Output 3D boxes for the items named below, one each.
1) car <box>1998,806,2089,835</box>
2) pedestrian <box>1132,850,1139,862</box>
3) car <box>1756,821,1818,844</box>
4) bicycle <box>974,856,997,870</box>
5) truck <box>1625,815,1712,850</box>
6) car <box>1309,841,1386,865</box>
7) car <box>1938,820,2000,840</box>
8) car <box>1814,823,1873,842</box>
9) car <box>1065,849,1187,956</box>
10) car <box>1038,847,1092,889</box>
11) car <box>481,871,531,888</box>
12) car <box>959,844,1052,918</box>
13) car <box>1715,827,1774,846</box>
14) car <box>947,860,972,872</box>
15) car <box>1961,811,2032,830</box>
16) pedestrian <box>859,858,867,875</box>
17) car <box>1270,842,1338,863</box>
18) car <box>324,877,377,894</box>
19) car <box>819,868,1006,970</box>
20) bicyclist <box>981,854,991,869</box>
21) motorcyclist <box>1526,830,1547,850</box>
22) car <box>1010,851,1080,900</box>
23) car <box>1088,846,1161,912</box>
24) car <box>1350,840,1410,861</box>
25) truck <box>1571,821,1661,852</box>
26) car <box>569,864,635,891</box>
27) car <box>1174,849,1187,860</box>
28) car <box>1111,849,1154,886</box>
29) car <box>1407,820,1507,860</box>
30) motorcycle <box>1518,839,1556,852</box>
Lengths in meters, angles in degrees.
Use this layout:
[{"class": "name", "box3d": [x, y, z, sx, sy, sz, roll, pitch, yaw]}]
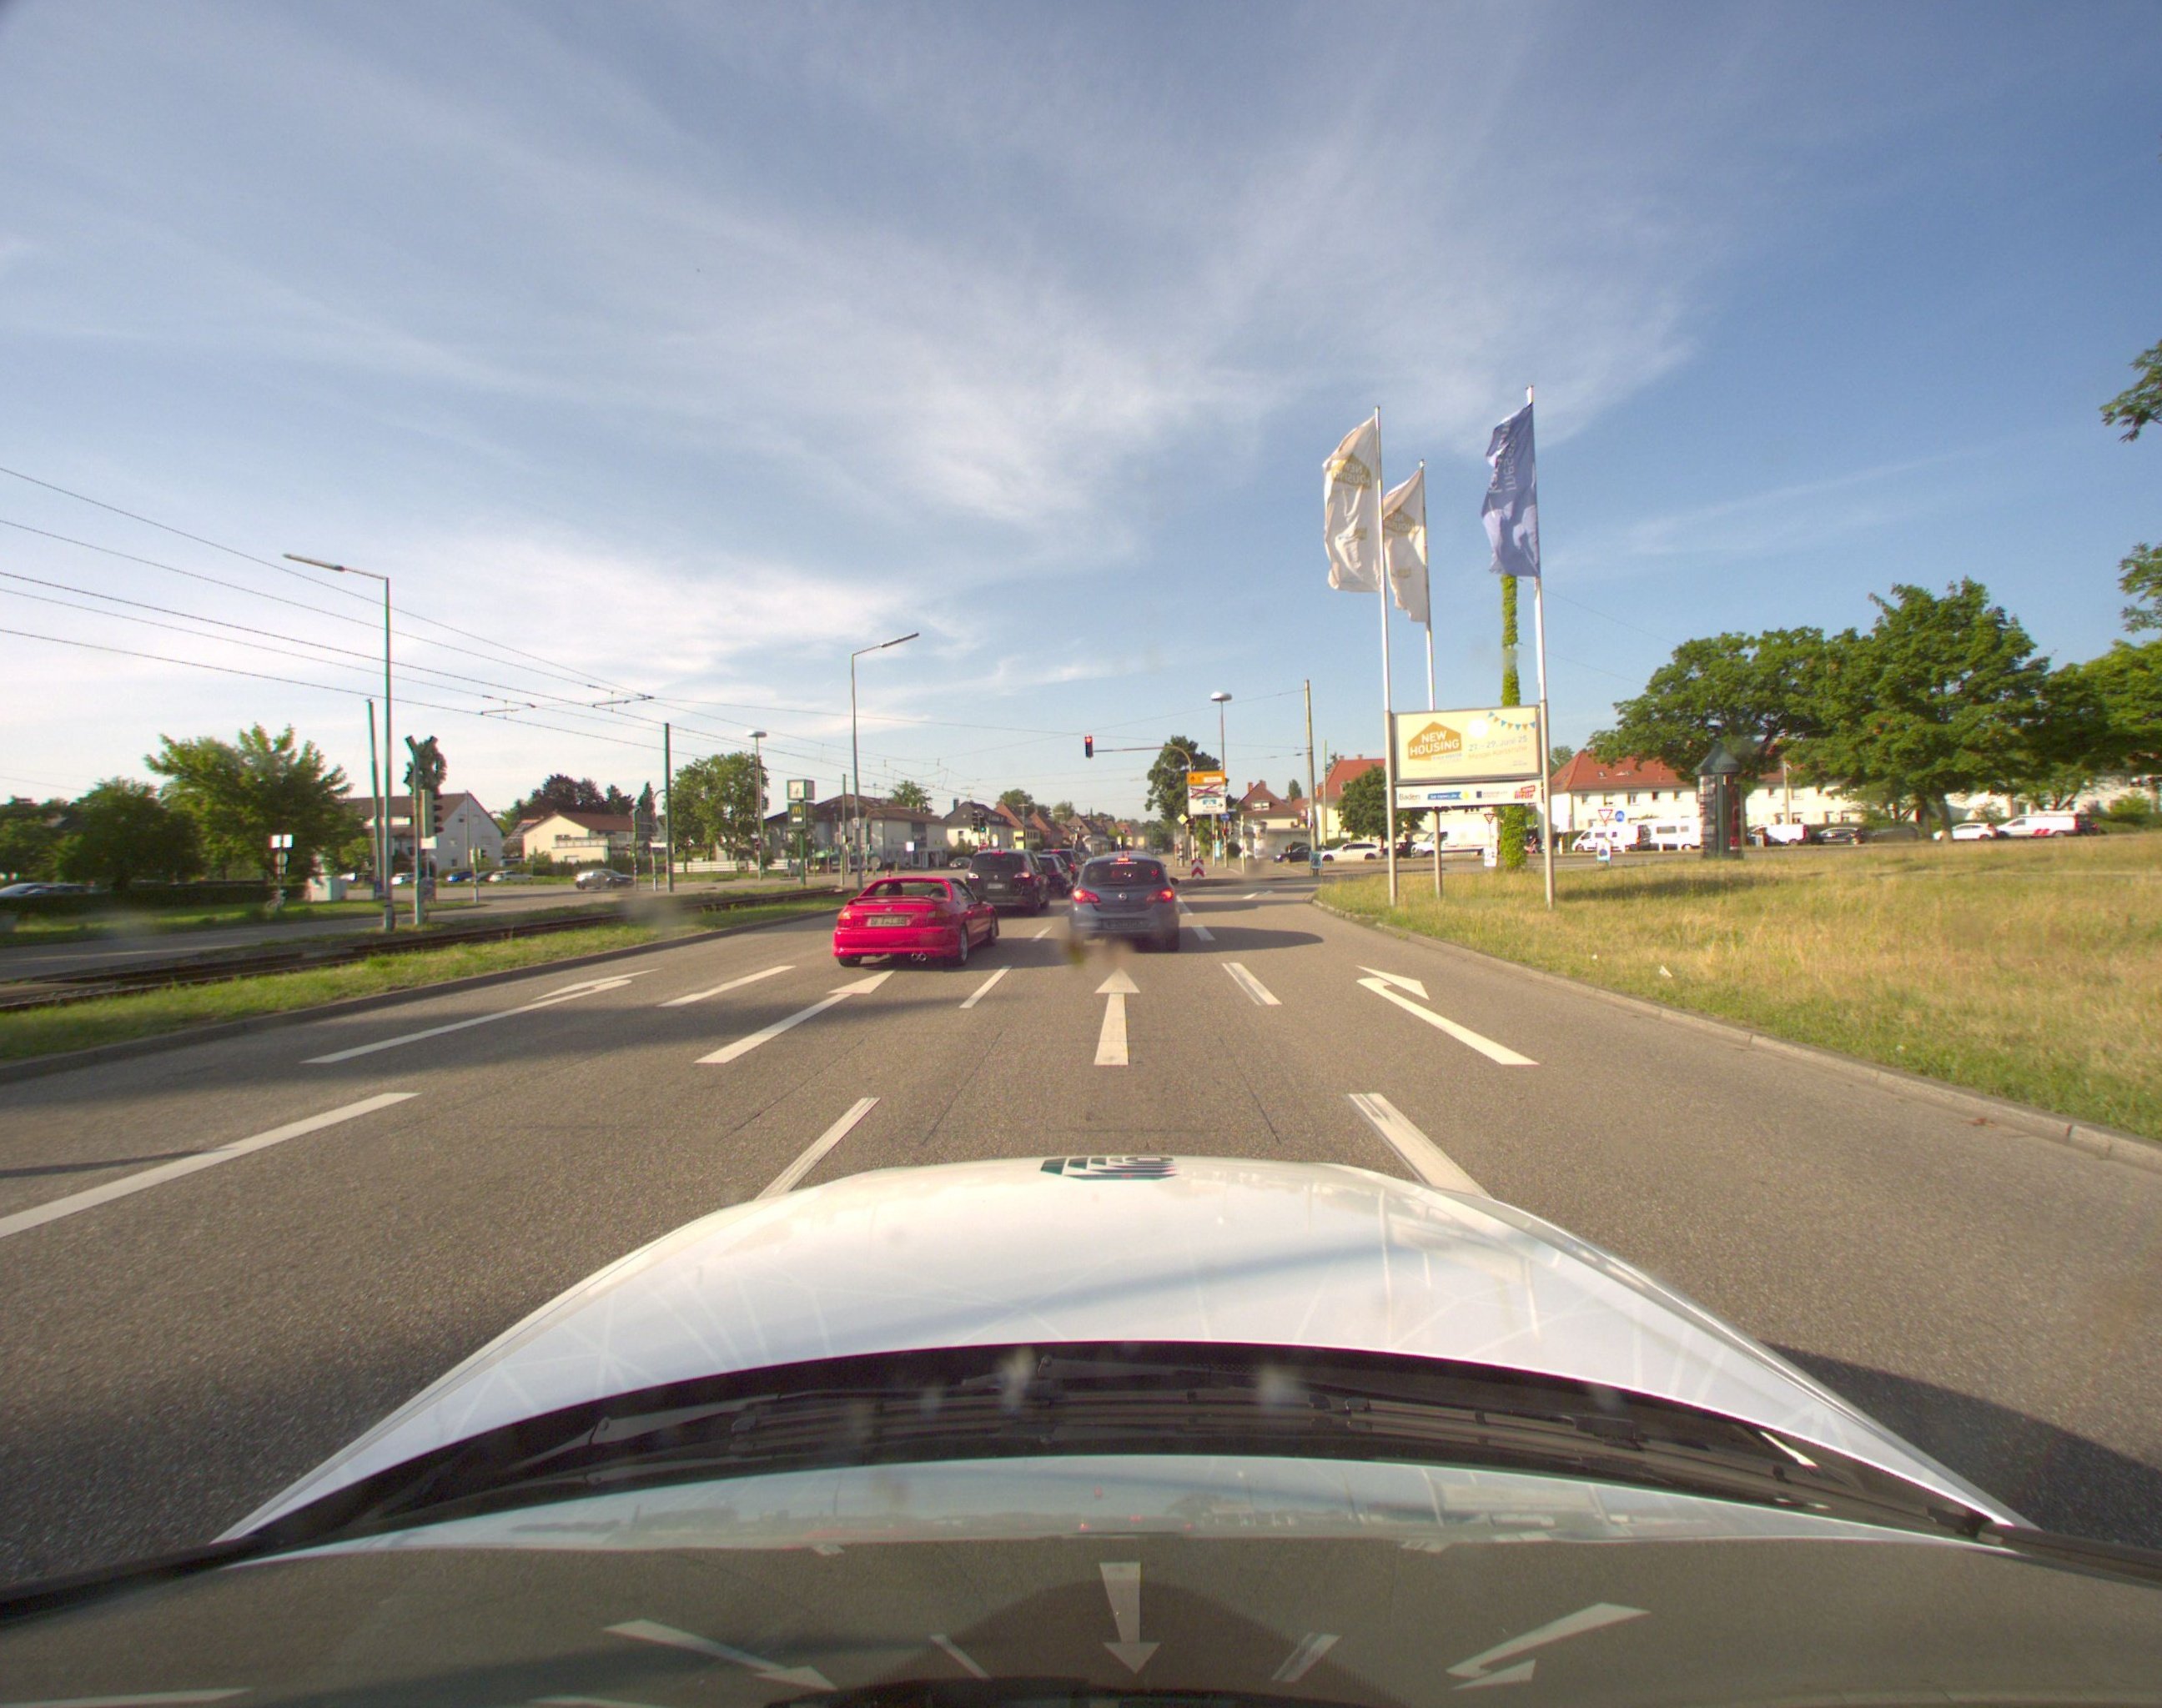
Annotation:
[{"class": "car", "box3d": [82.287, -2.842, 69.760, 2.011, 2.232, 4.919, -2, 0, -42]}, {"class": "pedestrian", "box3d": [6.497, 0.257, 97.482, 0.749, 1.499, 0.829, -1, -1, 8]}, {"class": "car", "box3d": [62.522, -1.890, 72.112, 1.906, 1.920, 3.863, -2, 0, -40]}, {"class": "bicycle", "box3d": [-8.981, 0.856, 76.602, 2.070, 1.348, 1.107, 0, -1, -4]}, {"class": "truck", "box3d": [52.474, -1.913, 72.848, 1.906, 2.854, 6.007, -2, 0, -40]}, {"class": "car", "box3d": [19.270, -0.094, 59.044, 5.068, 1.563, 1.843, -2, 0, 6]}, {"class": "car", "box3d": [76.332, -2.061, 70.022, 1.905, 1.514, 3.395, -2, 0, -36]}, {"class": "car", "box3d": [66.366, -1.843, 70.891, 1.905, 1.514, 3.461, -2, 0, -36]}, {"class": "car", "box3d": [0.737, 0.697, 14.007, 1.735, 1.505, 4.225, -2, 0, 2]}, {"class": "car", "box3d": [-0.628, 0.531, 35.412, 1.498, 1.651, 4.755, -2, 0, 8]}, {"class": "car", "box3d": [-62.177, 2.735, 88.143, 1.980, 1.684, 4.234, -1, -1, 12]}, {"class": "car", "box3d": [-1.800, 0.615, 20.782, 1.756, 1.670, 4.087, -1, 0, 3]}, {"class": "car", "box3d": [59.127, -1.560, 72.583, 1.907, 1.456, 3.861, -2, 0, -43]}, {"class": "car", "box3d": [-14.889, 1.452, 99.707, 1.653, 1.345, 4.090, -2, -1, 11]}, {"class": "car", "box3d": [94.912, -3.471, 84.497, 1.984, 1.719, 4.987, -2, 0, 5]}, {"class": "pedestrian", "box3d": [-20.842, 1.164, 77.894, 0.510, 1.599, 0.540, -2, 0, 2]}, {"class": "car", "box3d": [17.160, -0.110, 62.773, 4.799, 1.411, 1.719, -2, 0, 6]}, {"class": "car", "box3d": [-72.996, 3.140, 81.441, 3.958, 1.486, 2.008, -2, 0, 14]}, {"class": "car", "box3d": [-2.342, 0.865, 12.326, 1.723, 1.206, 3.852, 0, 0, 5]}, {"class": "bicyclist", "box3d": [-8.936, 0.701, 76.598, 0.882, 1.431, 1.135, 0, -1, -3]}, {"class": "motorcyclist", "box3d": [31.957, -0.971, 57.130, 1.060, 1.352, 0.681, -2, 0, 5]}, {"class": "car", "box3d": [-1.164, 0.669, 28.239, 1.691, 1.508, 4.562, -1, 0, 7]}, {"class": "car", "box3d": [1.160, 0.597, 21.660, 1.699, 1.551, 3.981, -2, 0, 3]}, {"class": "car", "box3d": [22.803, -0.293, 62.248, 3.966, 1.453, 1.719, -2, 0, 6]}, {"class": "truck", "box3d": [47.143, -1.534, 71.971, 2.284, 2.524, 6.298, -2, 1, -29]}, {"class": "car", "box3d": [-34.749, 1.711, 59.162, 3.965, 1.793, 1.523, -2, 0, 7]}, {"class": "car", "box3d": [13.136, 0.062, 108.041, 1.666, 1.398, 4.007, 0, -1, 6]}, {"class": "car", "box3d": [2.204, 0.545, 34.875, 1.649, 1.443, 4.018, -2, 0, 4]}, {"class": "car", "box3d": [26.866, -0.969, 58.410, 6.177, 2.583, 2.003, -2, 0, 6]}, {"class": "motorcycle", "box3d": [31.975, -0.582, 57.133, 2.260, 0.866, 0.691, -2, 0, 4]}]
